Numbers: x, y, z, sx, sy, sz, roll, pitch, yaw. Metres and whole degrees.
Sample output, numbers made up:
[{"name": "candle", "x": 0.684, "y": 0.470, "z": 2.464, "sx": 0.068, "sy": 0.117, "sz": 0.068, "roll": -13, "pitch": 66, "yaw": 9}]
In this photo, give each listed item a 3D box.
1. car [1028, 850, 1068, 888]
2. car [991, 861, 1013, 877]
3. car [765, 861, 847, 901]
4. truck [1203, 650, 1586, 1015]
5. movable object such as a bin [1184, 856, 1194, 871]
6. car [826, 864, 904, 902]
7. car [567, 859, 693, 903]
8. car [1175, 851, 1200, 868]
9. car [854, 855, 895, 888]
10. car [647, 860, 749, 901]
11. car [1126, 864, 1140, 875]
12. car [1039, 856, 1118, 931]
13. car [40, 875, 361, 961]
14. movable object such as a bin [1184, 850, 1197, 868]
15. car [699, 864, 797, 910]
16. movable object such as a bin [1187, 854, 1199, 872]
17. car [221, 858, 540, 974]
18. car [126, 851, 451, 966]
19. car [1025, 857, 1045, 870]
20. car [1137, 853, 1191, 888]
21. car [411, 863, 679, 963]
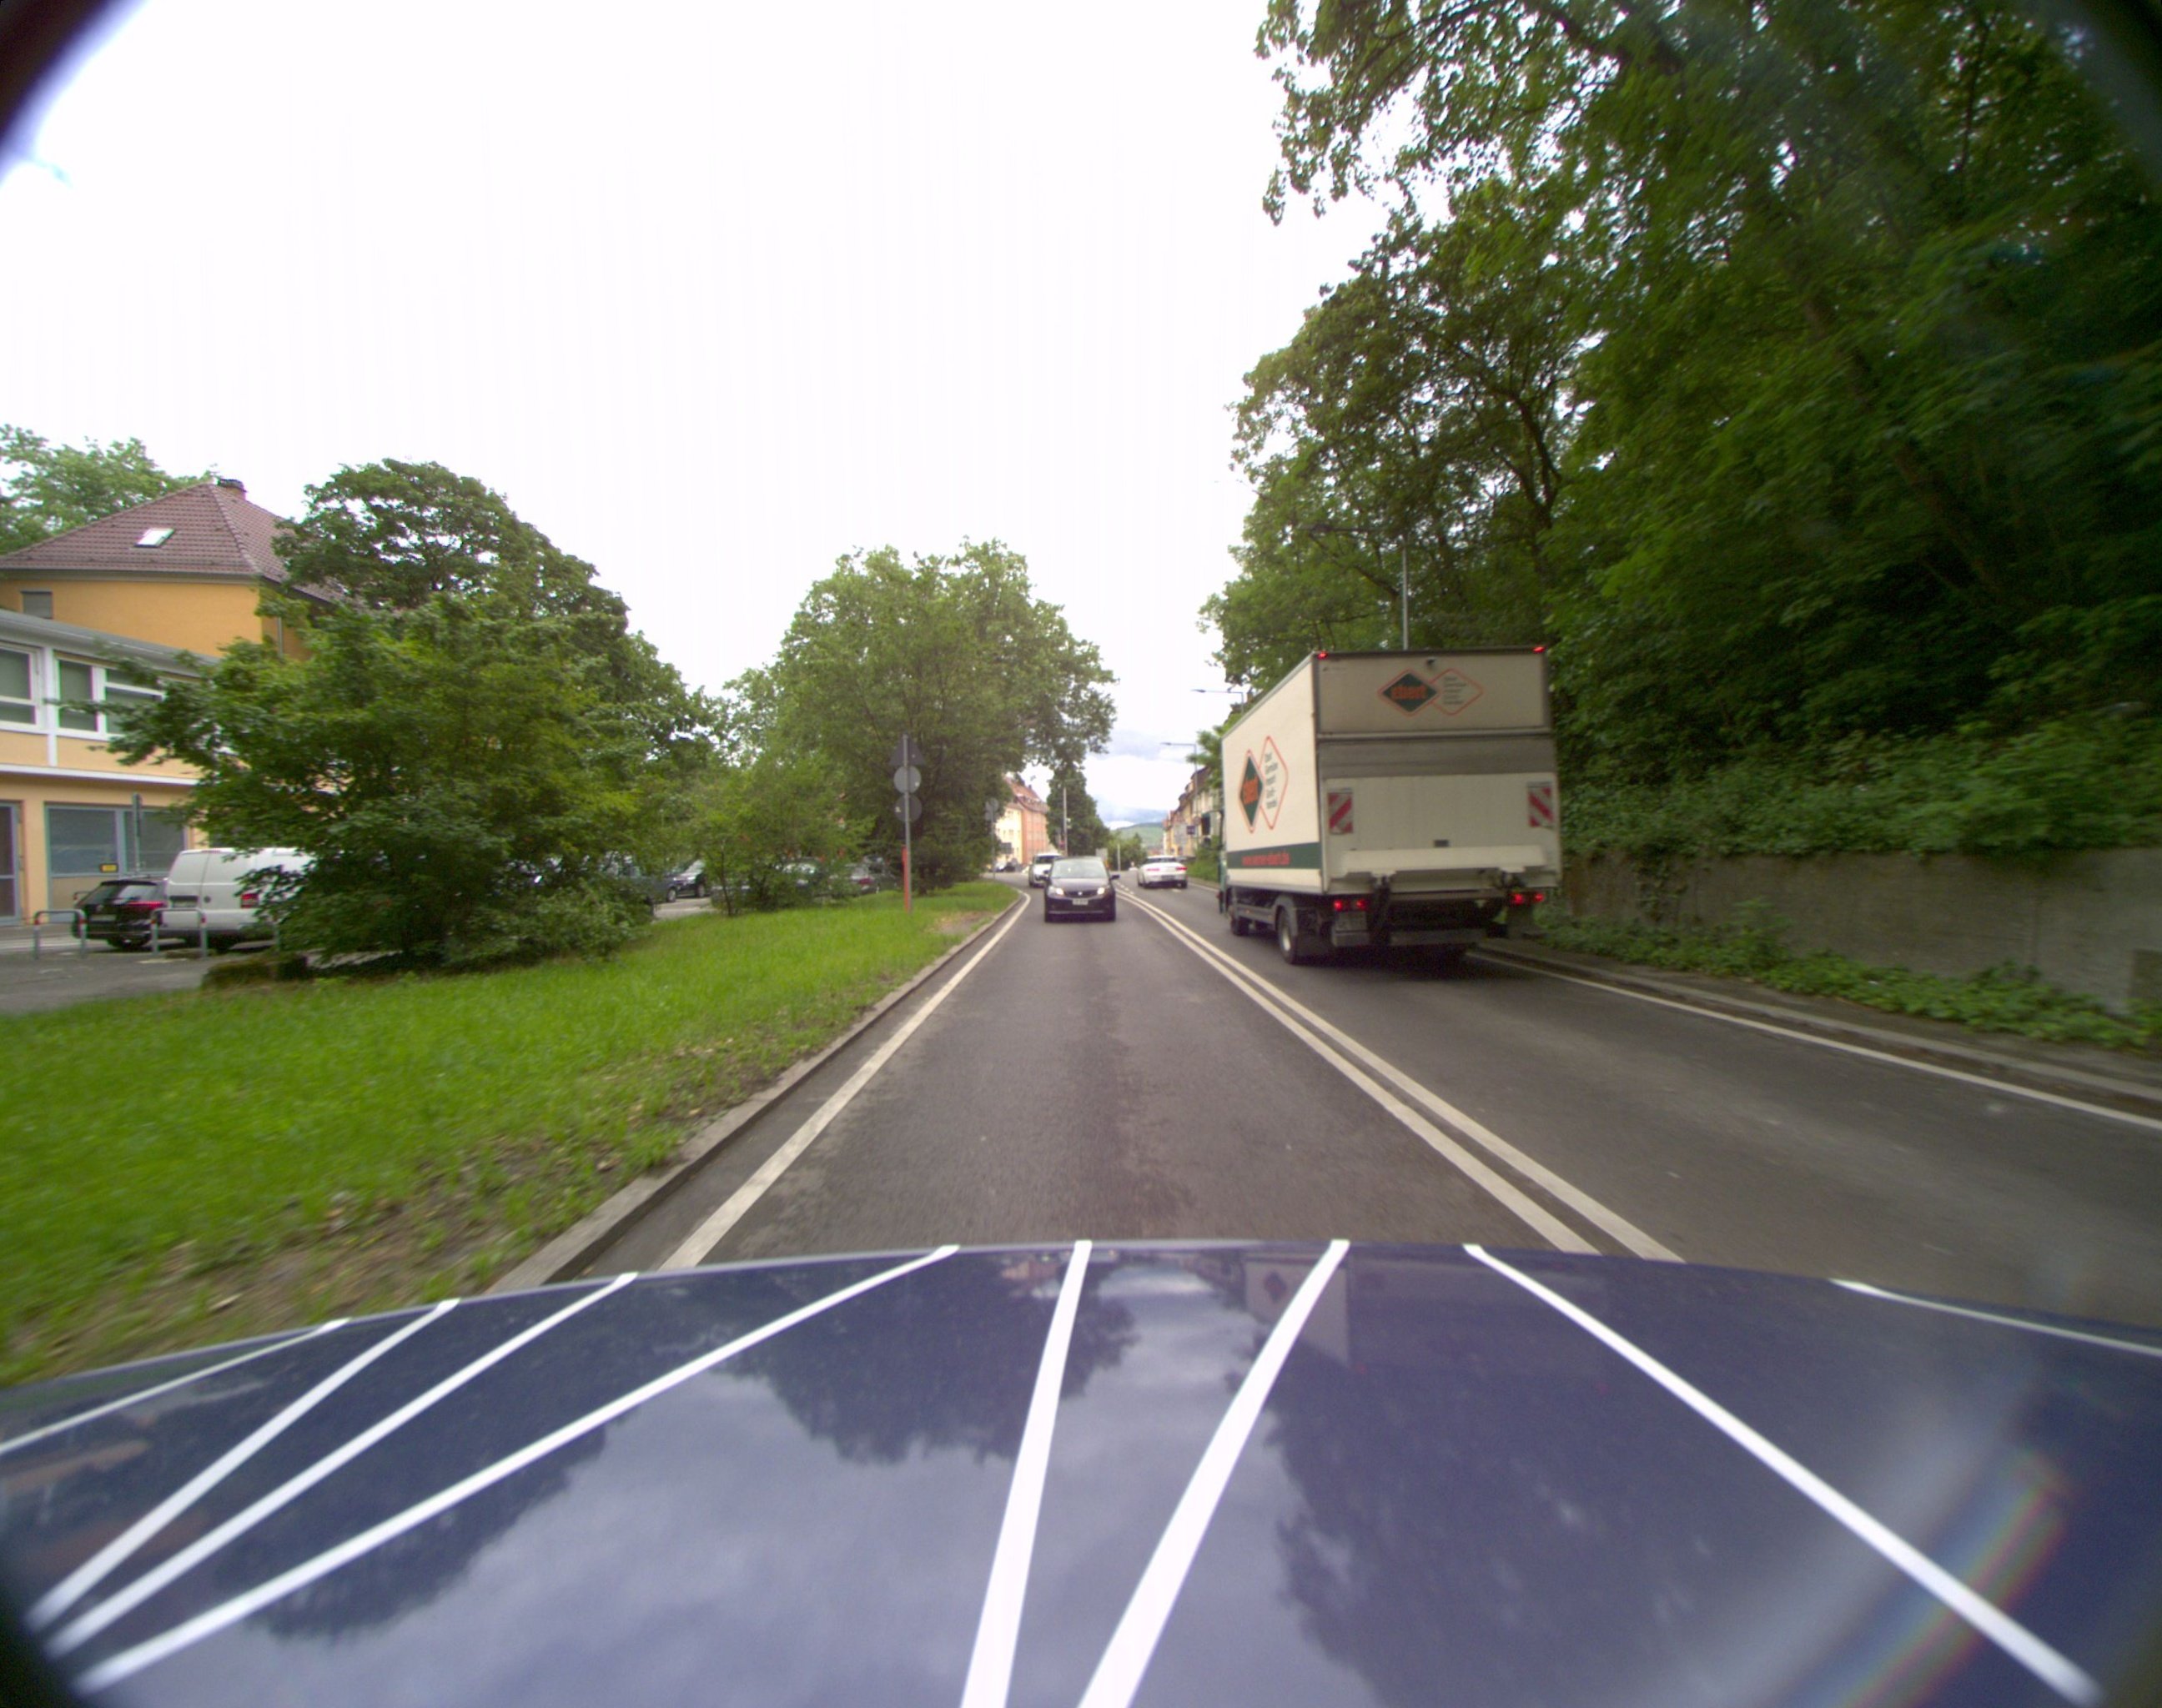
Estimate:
[{"name": "car", "x": -1.622, "y": 0.683, "z": 37.318, "sx": 1.780, "sy": 1.598, "sz": 4.161, "roll": -3, "pitch": 1, "yaw": -3}, {"name": "car", "x": -8.541, "y": 1.622, "z": 81.940, "sx": 1.783, "sy": 1.583, "sz": 3.535, "roll": 1, "pitch": -1, "yaw": 3}, {"name": "car", "x": -11.463, "y": 1.079, "z": 32.039, "sx": 1.789, "sy": 1.549, "sz": 4.594, "roll": 0, "pitch": 0, "yaw": 0}, {"name": "truck", "x": 3.812, "y": -0.239, "z": 11.508, "sx": 2.682, "sy": 3.645, "sz": 7.517, "roll": -2, "pitch": 1, "yaw": 1}, {"name": "movable object such as a bin", "x": 7.345, "y": 0.625, "z": 51.700, "sx": 0.517, "sy": 0.961, "sz": 0.444, "roll": -4, "pitch": 0, "yaw": -10}, {"name": "car", "x": -8.892, "y": 1.154, "z": 31.723, "sx": 1.789, "sy": 1.433, "sz": 5.063, "roll": 0, "pitch": 0, "yaw": 0}, {"name": "car", "x": -15.903, "y": 1.007, "z": 27.075, "sx": 1.810, "sy": 1.433, "sz": 4.011, "roll": -1, "pitch": -3, "yaw": 6}, {"name": "car", "x": 9.453, "y": 0.485, "z": 67.897, "sx": 1.998, "sy": 1.392, "sz": 4.521, "roll": -1, "pitch": -2, "yaw": 6}, {"name": "car", "x": -11.532, "y": 0.939, "z": 42.214, "sx": 1.816, "sy": 1.655, "sz": 4.876, "roll": 1, "pitch": 1, "yaw": -19}, {"name": "car", "x": -15.884, "y": 1.063, "z": 31.801, "sx": 1.789, "sy": 1.584, "sz": 4.406, "roll": 0, "pitch": 0, "yaw": 4}, {"name": "car", "x": 8.507, "y": 2.446, "z": 124.157, "sx": 1.875, "sy": 1.688, "sz": 4.935, "roll": -1, "pitch": 0, "yaw": -1}, {"name": "car", "x": -0.099, "y": 0.852, "z": 18.068, "sx": 1.604, "sy": 1.449, "sz": 3.683, "roll": -3, "pitch": 1, "yaw": -2}, {"name": "car", "x": -18.469, "y": 1.259, "z": 16.333, "sx": 1.800, "sy": 1.418, "sz": 4.326, "roll": -1, "pitch": 0, "yaw": 1}, {"name": "movable object such as a bin", "x": 7.377, "y": 0.353, "z": 51.224, "sx": 0.606, "sy": 1.178, "sz": 0.492, "roll": -4, "pitch": 0, "yaw": -10}, {"name": "car", "x": -11.756, "y": 1.126, "z": 27.112, "sx": 1.748, "sy": 1.434, "sz": 3.898, "roll": 0, "pitch": 1, "yaw": 0}, {"name": "movable object such as a bin", "x": 7.482, "y": 0.599, "z": 50.714, "sx": 0.582, "sy": 1.178, "sz": 0.430, "roll": -4, "pitch": 0, "yaw": -10}, {"name": "car", "x": -13.590, "y": 1.059, "z": 15.307, "sx": 1.861, "sy": 1.868, "sz": 4.884, "roll": -1, "pitch": 1, "yaw": 0}, {"name": "car", "x": -15.986, "y": 0.966, "z": 15.798, "sx": 1.861, "sy": 2.003, "sz": 4.562, "roll": -1, "pitch": 1, "yaw": 1}, {"name": "car", "x": -5.436, "y": 1.113, "z": 90.562, "sx": 1.814, "sy": 1.433, "sz": 3.901, "roll": -1, "pitch": -2, "yaw": 6}, {"name": "car", "x": 3.565, "y": 0.673, "z": 33.491, "sx": 1.873, "sy": 1.363, "sz": 4.455, "roll": -1, "pitch": 1, "yaw": 0}, {"name": "car", "x": -10.864, "y": 1.075, "z": 15.977, "sx": 1.812, "sy": 1.656, "sz": 4.887, "roll": 1, "pitch": 0, "yaw": 6}]
